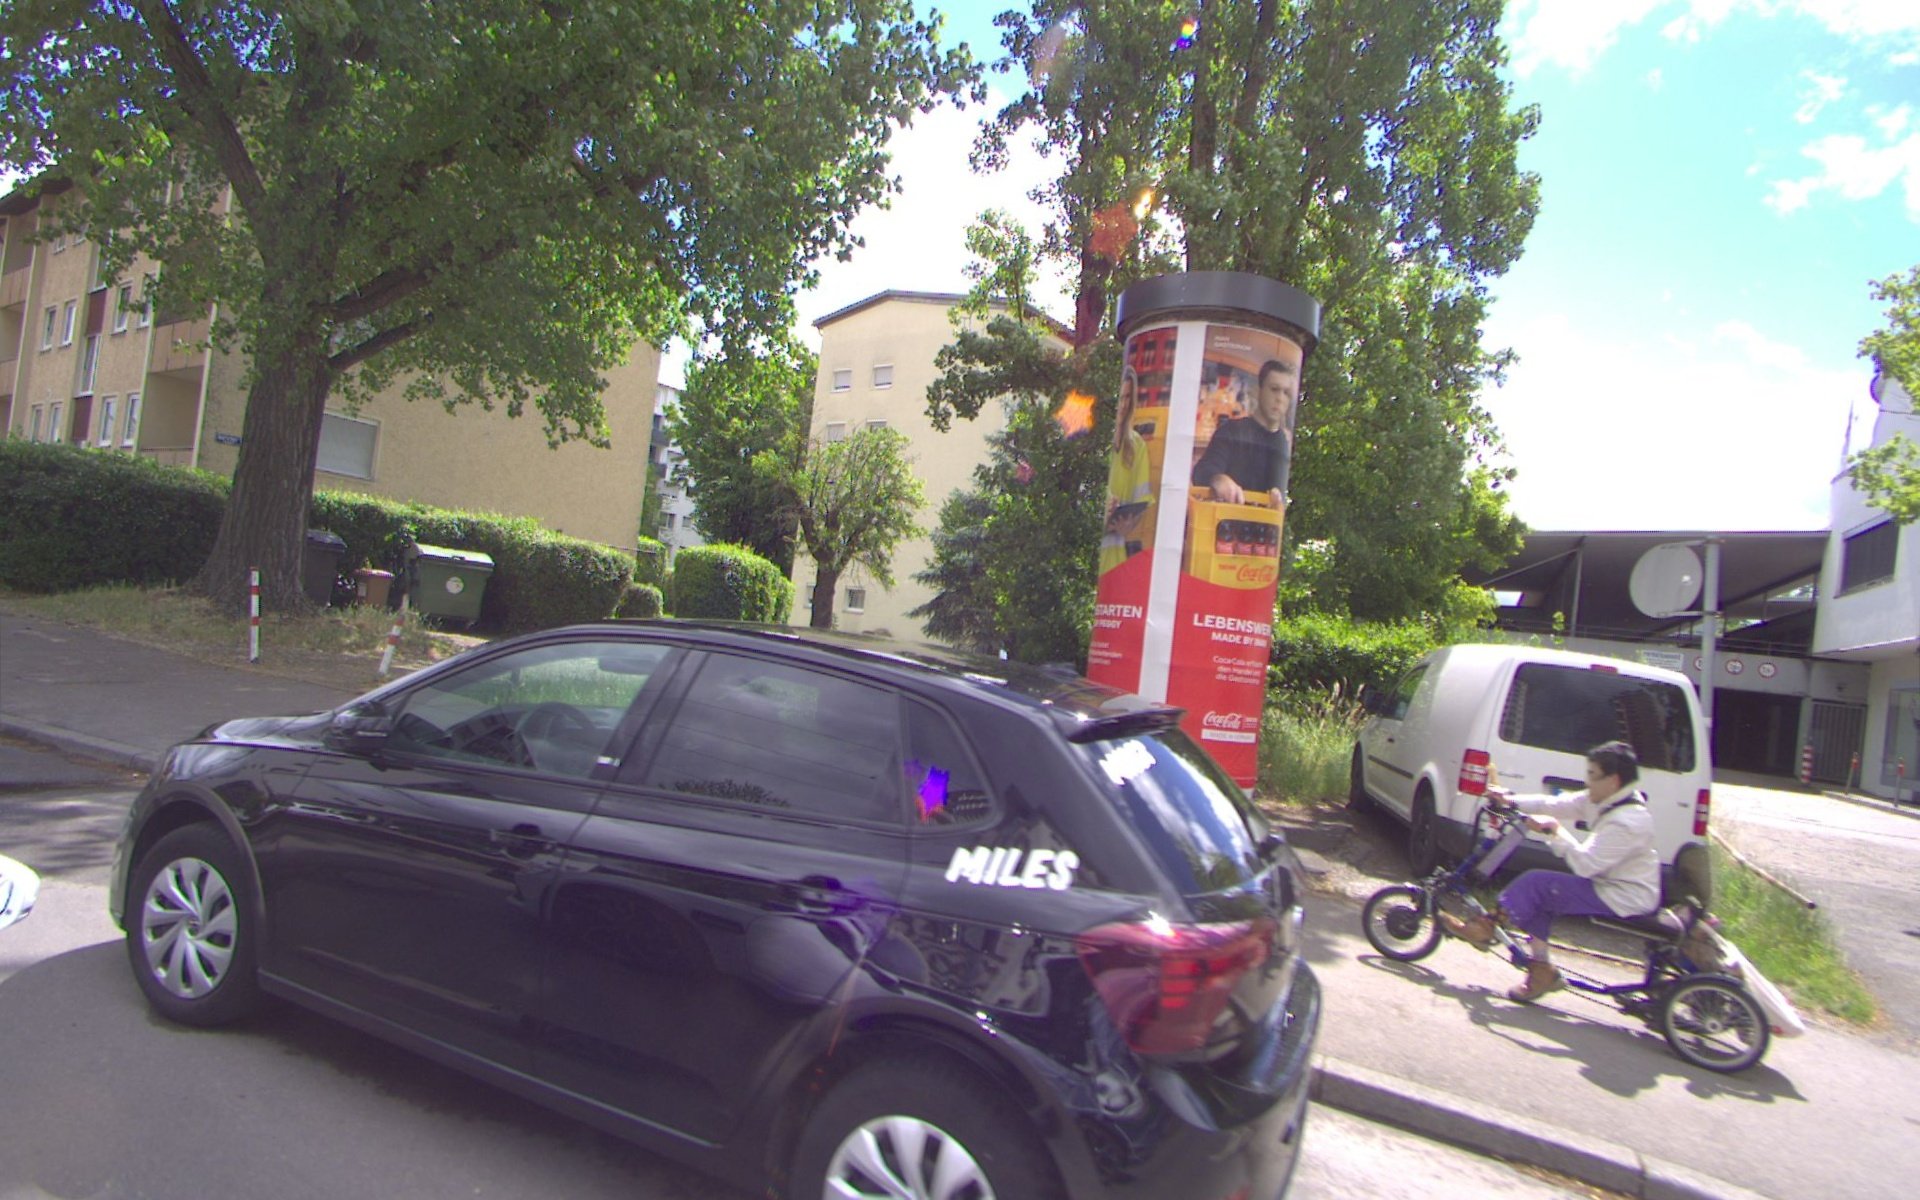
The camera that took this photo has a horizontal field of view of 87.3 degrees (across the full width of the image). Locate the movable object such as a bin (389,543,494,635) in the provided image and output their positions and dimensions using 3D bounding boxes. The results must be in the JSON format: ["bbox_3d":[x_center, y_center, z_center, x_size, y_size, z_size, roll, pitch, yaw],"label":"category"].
[{"bbox_3d":[-9.313,-0.193,18.093,1.040,1.456,1.170,8,0,32],"label":"movable object such as a bin"}]

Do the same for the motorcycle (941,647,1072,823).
[{"bbox_3d":[0.446,1.060,8.535,0.698,1.225,1.802,7,0,11],"label":"motorcycle"}]

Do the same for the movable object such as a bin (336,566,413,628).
[{"bbox_3d":[-10.021,-0.049,17.233,0.749,0.927,0.803,8,0,32],"label":"movable object such as a bin"}]

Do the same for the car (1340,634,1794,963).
[{"bbox_3d":[4.623,1.323,8.465,1.776,1.845,4.002,8,0,11],"label":"car"}]

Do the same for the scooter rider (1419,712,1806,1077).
[{"bbox_3d":[2.983,1.260,4.732,1.260,1.235,0.886,8,1,31],"label":"scooter rider"}]

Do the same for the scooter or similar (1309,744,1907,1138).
[{"bbox_3d":[2.894,1.439,4.778,2.078,1.077,0.891,8,1,32],"label":"scooter or similar"}]

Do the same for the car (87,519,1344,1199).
[{"bbox_3d":[-0.929,0.723,3.362,3.761,1.466,1.818,8,0,30],"label":"car"}]

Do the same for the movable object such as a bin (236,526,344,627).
[{"bbox_3d":[-10.693,-0.361,16.081,0.749,1.456,1.099,8,1,32],"label":"movable object such as a bin"}]
